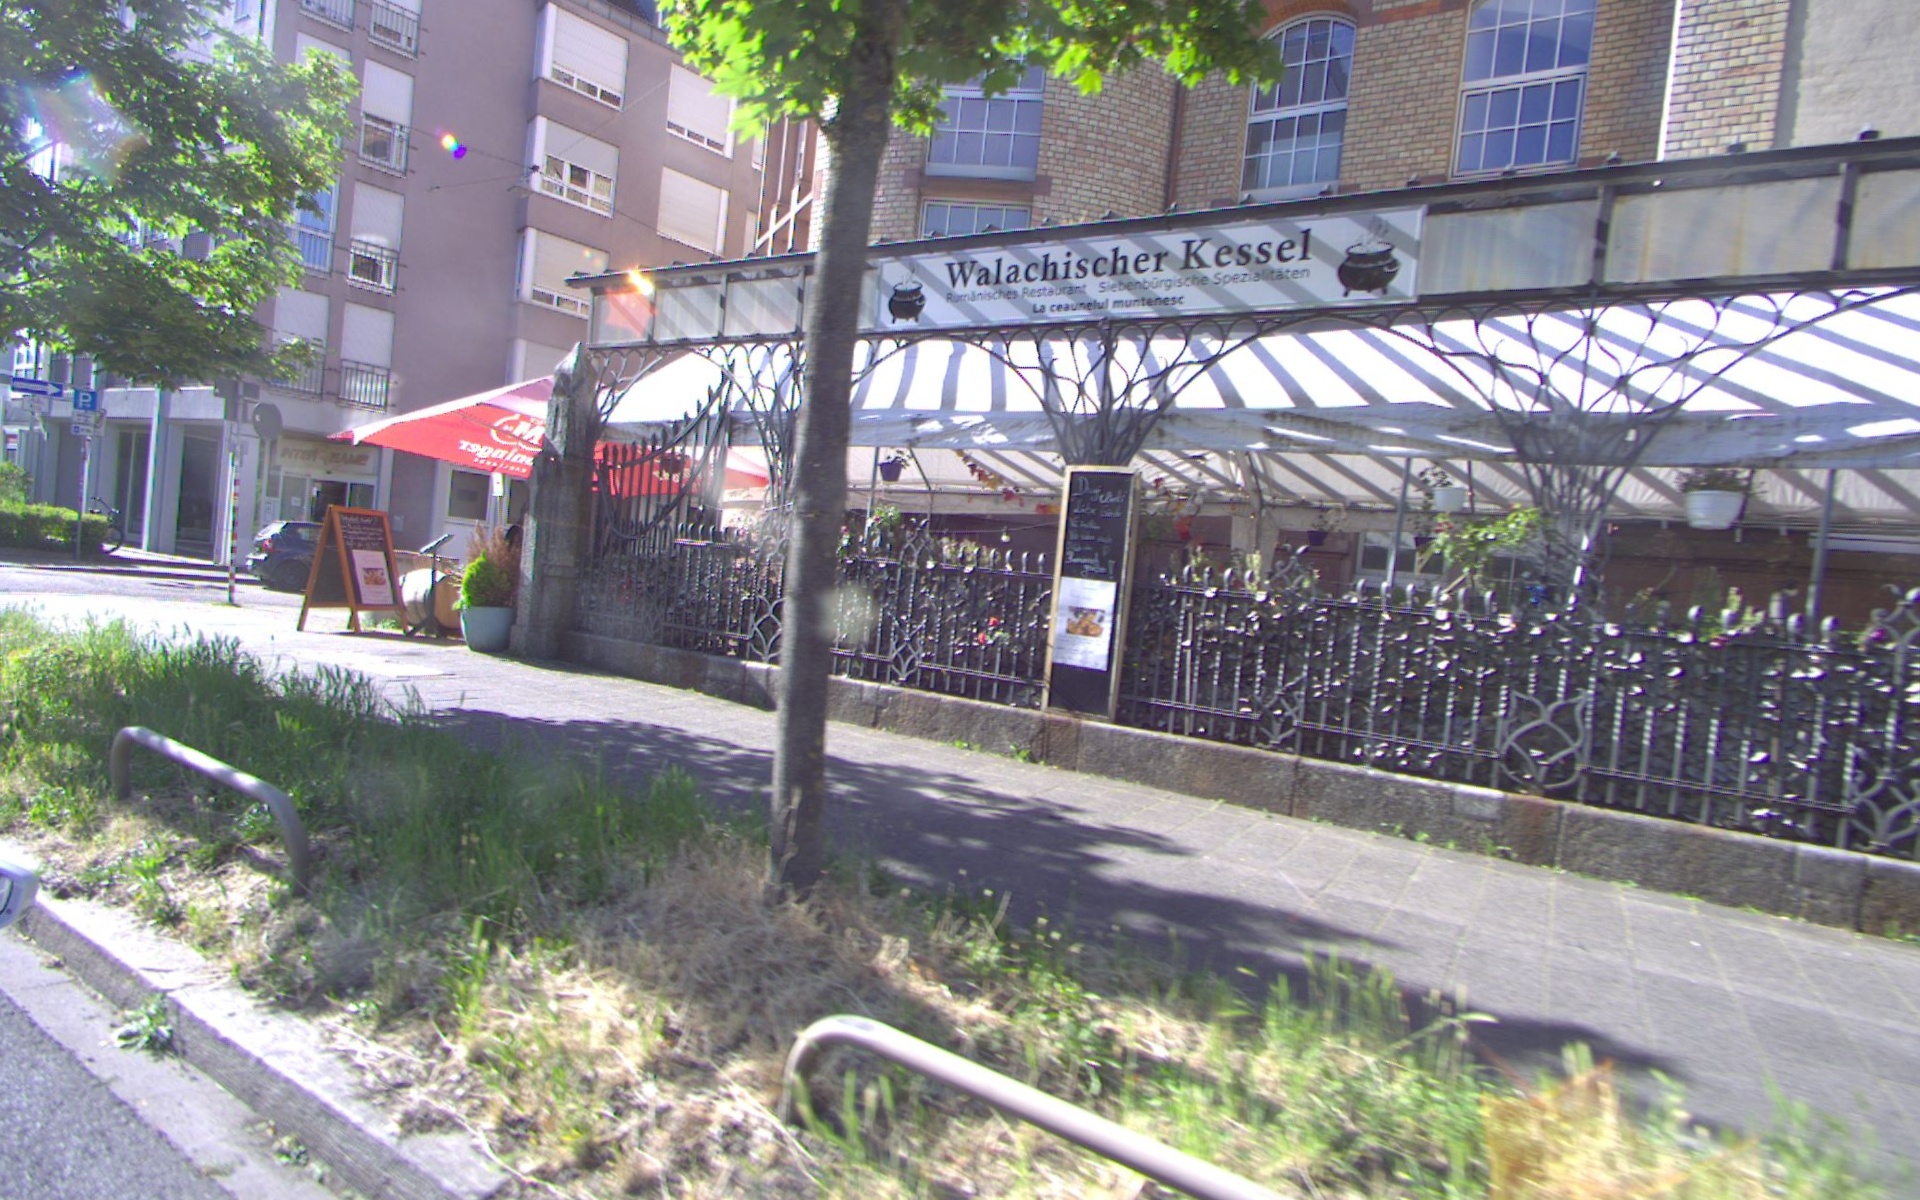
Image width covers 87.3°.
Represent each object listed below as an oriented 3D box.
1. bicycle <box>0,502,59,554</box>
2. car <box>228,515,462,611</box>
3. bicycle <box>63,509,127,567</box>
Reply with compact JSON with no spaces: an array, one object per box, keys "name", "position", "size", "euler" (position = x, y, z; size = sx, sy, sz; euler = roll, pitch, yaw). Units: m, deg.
[{"name":"bicycle","position":[-21.535,-1.664,22.300],"size":[0.676,1.041,2.196],"euler":[9,3,33]},{"name":"car","position":[-13.320,-0.767,21.944],"size":[1.838,1.541,3.935],"euler":[6,-1,44]},{"name":"bicycle","position":[-19.126,-1.388,22.231],"size":[2.170,1.041,0.684],"euler":[9,4,40]}]
